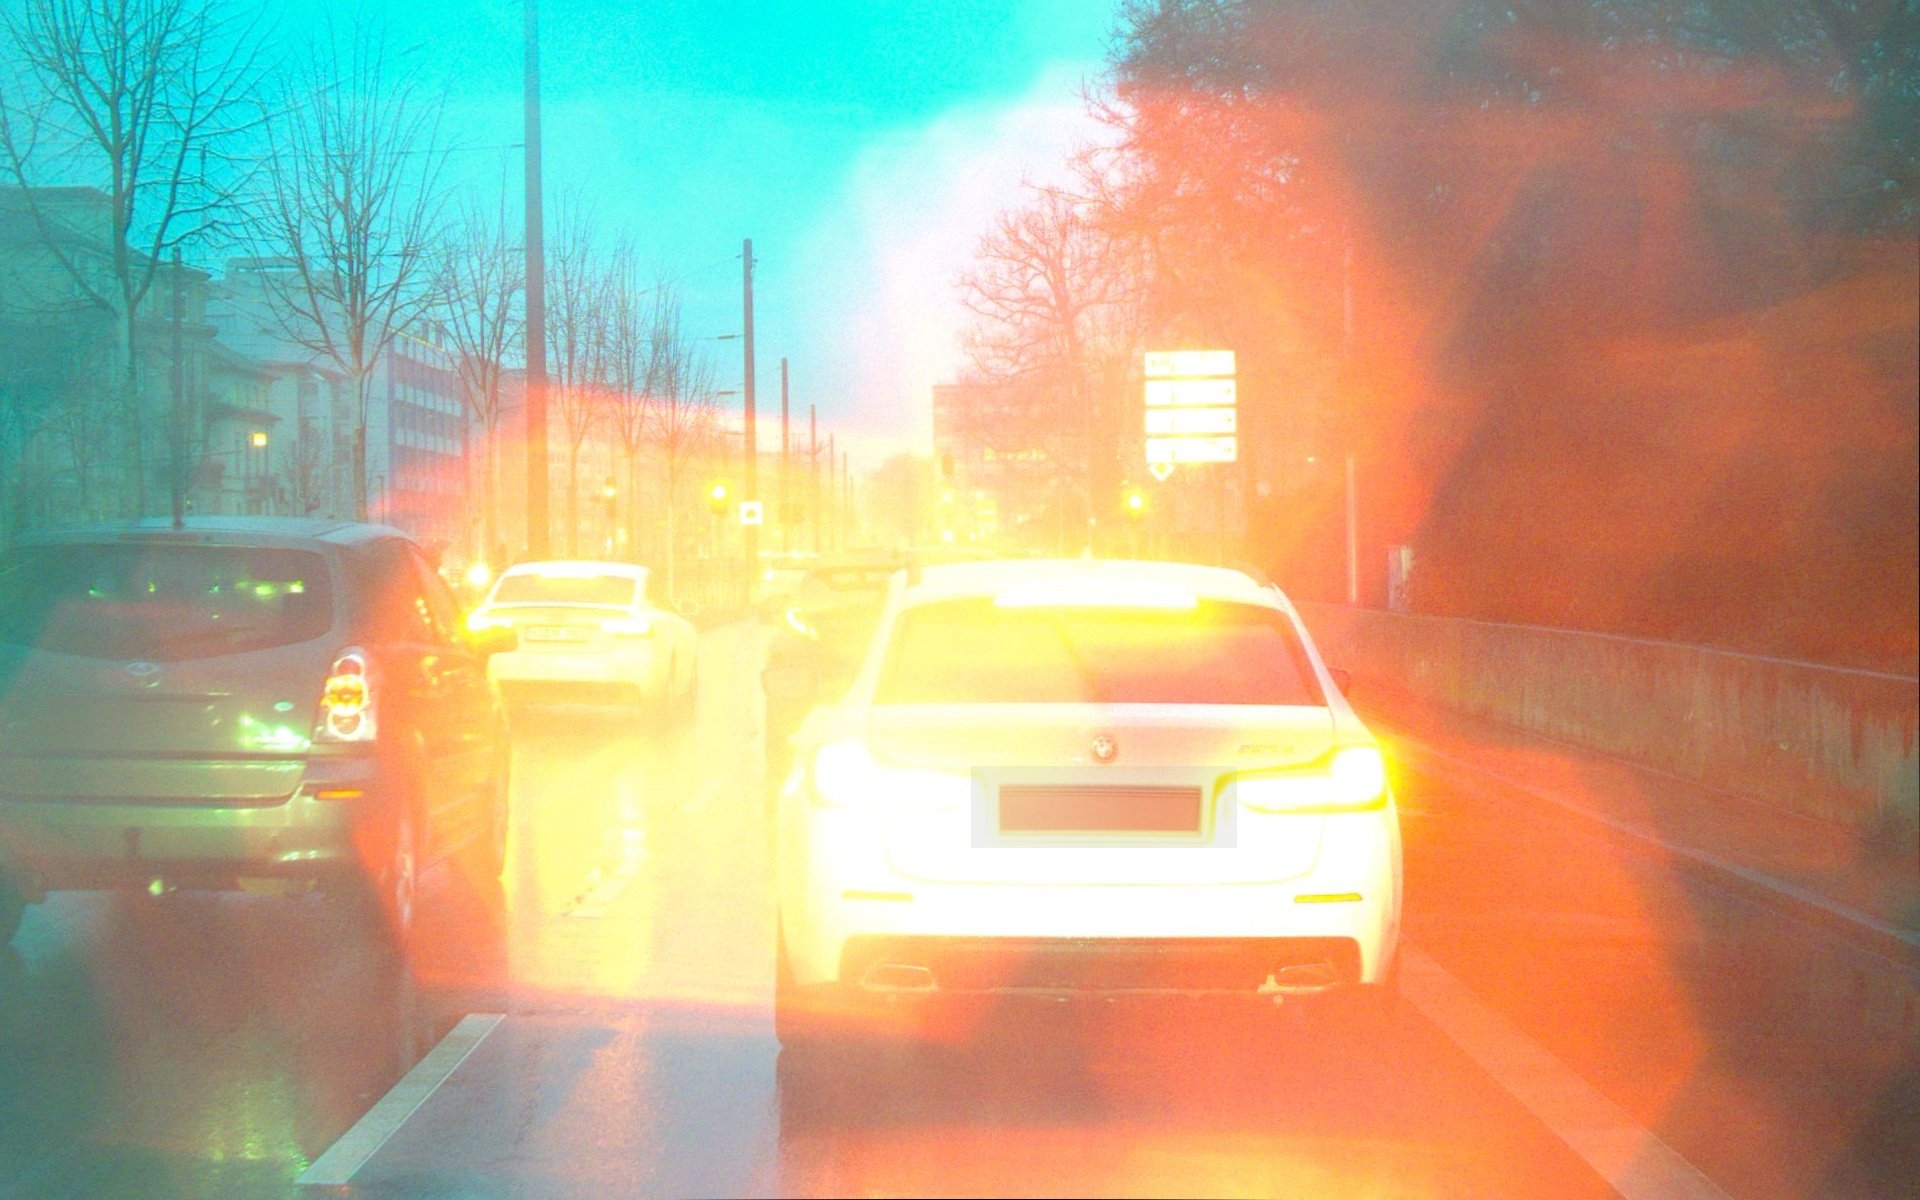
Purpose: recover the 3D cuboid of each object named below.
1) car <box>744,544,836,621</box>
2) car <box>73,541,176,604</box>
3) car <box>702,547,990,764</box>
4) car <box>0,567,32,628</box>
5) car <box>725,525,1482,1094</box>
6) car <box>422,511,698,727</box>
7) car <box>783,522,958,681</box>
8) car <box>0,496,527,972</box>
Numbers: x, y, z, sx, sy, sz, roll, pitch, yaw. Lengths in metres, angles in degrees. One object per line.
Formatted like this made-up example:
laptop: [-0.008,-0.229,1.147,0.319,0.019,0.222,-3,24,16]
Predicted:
car: [-3.704,-0.408,75.600,1.806,1.640,4.000,1,1,0]
car: [-23.942,-0.812,98.665,1.895,1.713,5.119,-1,1,-3]
car: [-0.774,0.342,25.267,1.936,1.452,4.163,0,1,0]
car: [-23.987,-0.071,83.883,1.895,1.426,3.707,-1,1,-4]
car: [0.377,0.521,11.201,1.999,1.503,4.163,0,1,0]
car: [-3.445,0.136,30.305,1.993,1.749,4.000,1,1,-1]
car: [-0.942,-0.018,37.985,1.806,1.640,4.000,1,1,0]
car: [-2.914,0.430,13.921,1.806,1.640,4.000,0,1,0]
